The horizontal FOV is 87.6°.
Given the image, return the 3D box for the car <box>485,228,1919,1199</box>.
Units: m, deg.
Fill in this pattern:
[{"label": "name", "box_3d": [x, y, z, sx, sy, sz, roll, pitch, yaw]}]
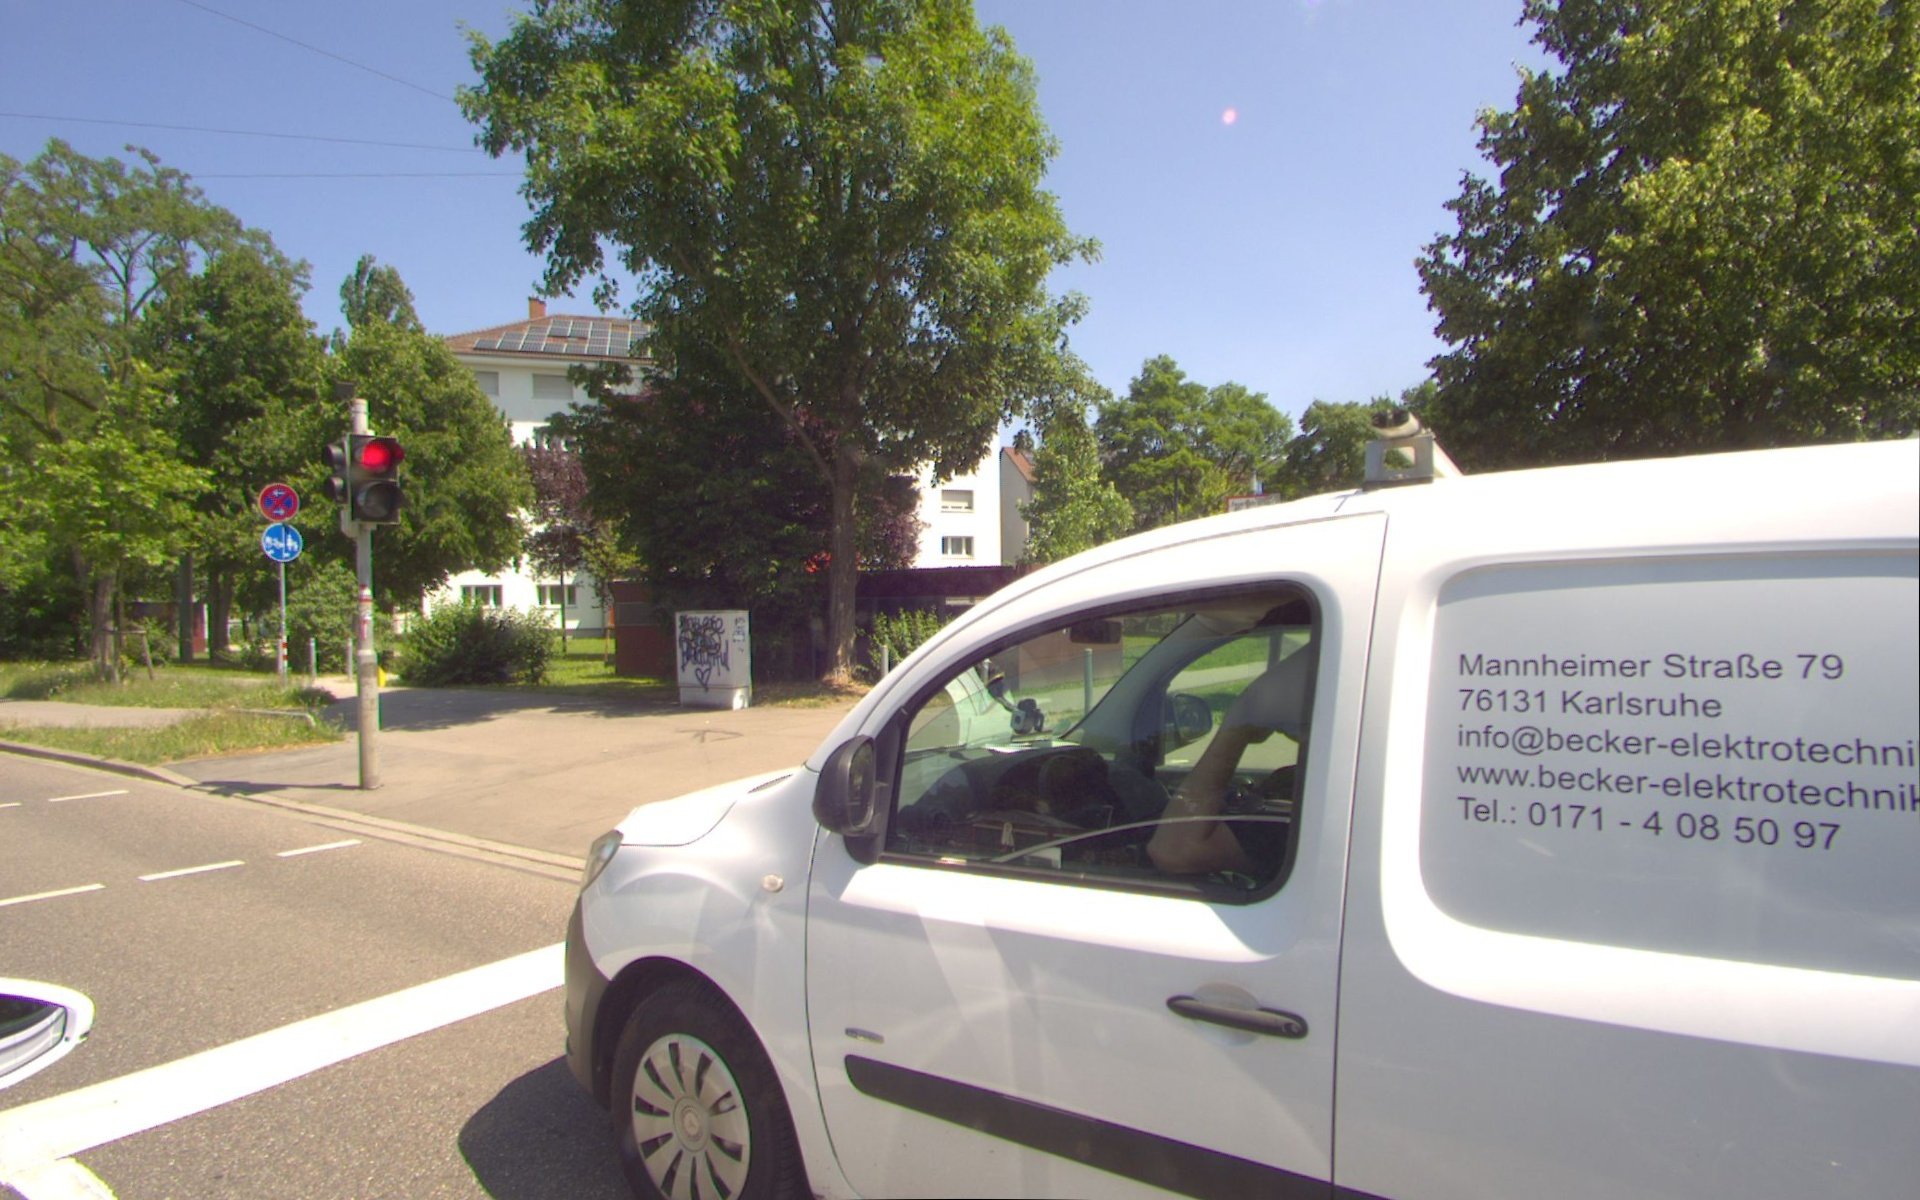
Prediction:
[{"label": "car", "box_3d": [1.042, 0.559, 2.267, 4.393, 1.906, 1.820, -1, -1, 33]}]
